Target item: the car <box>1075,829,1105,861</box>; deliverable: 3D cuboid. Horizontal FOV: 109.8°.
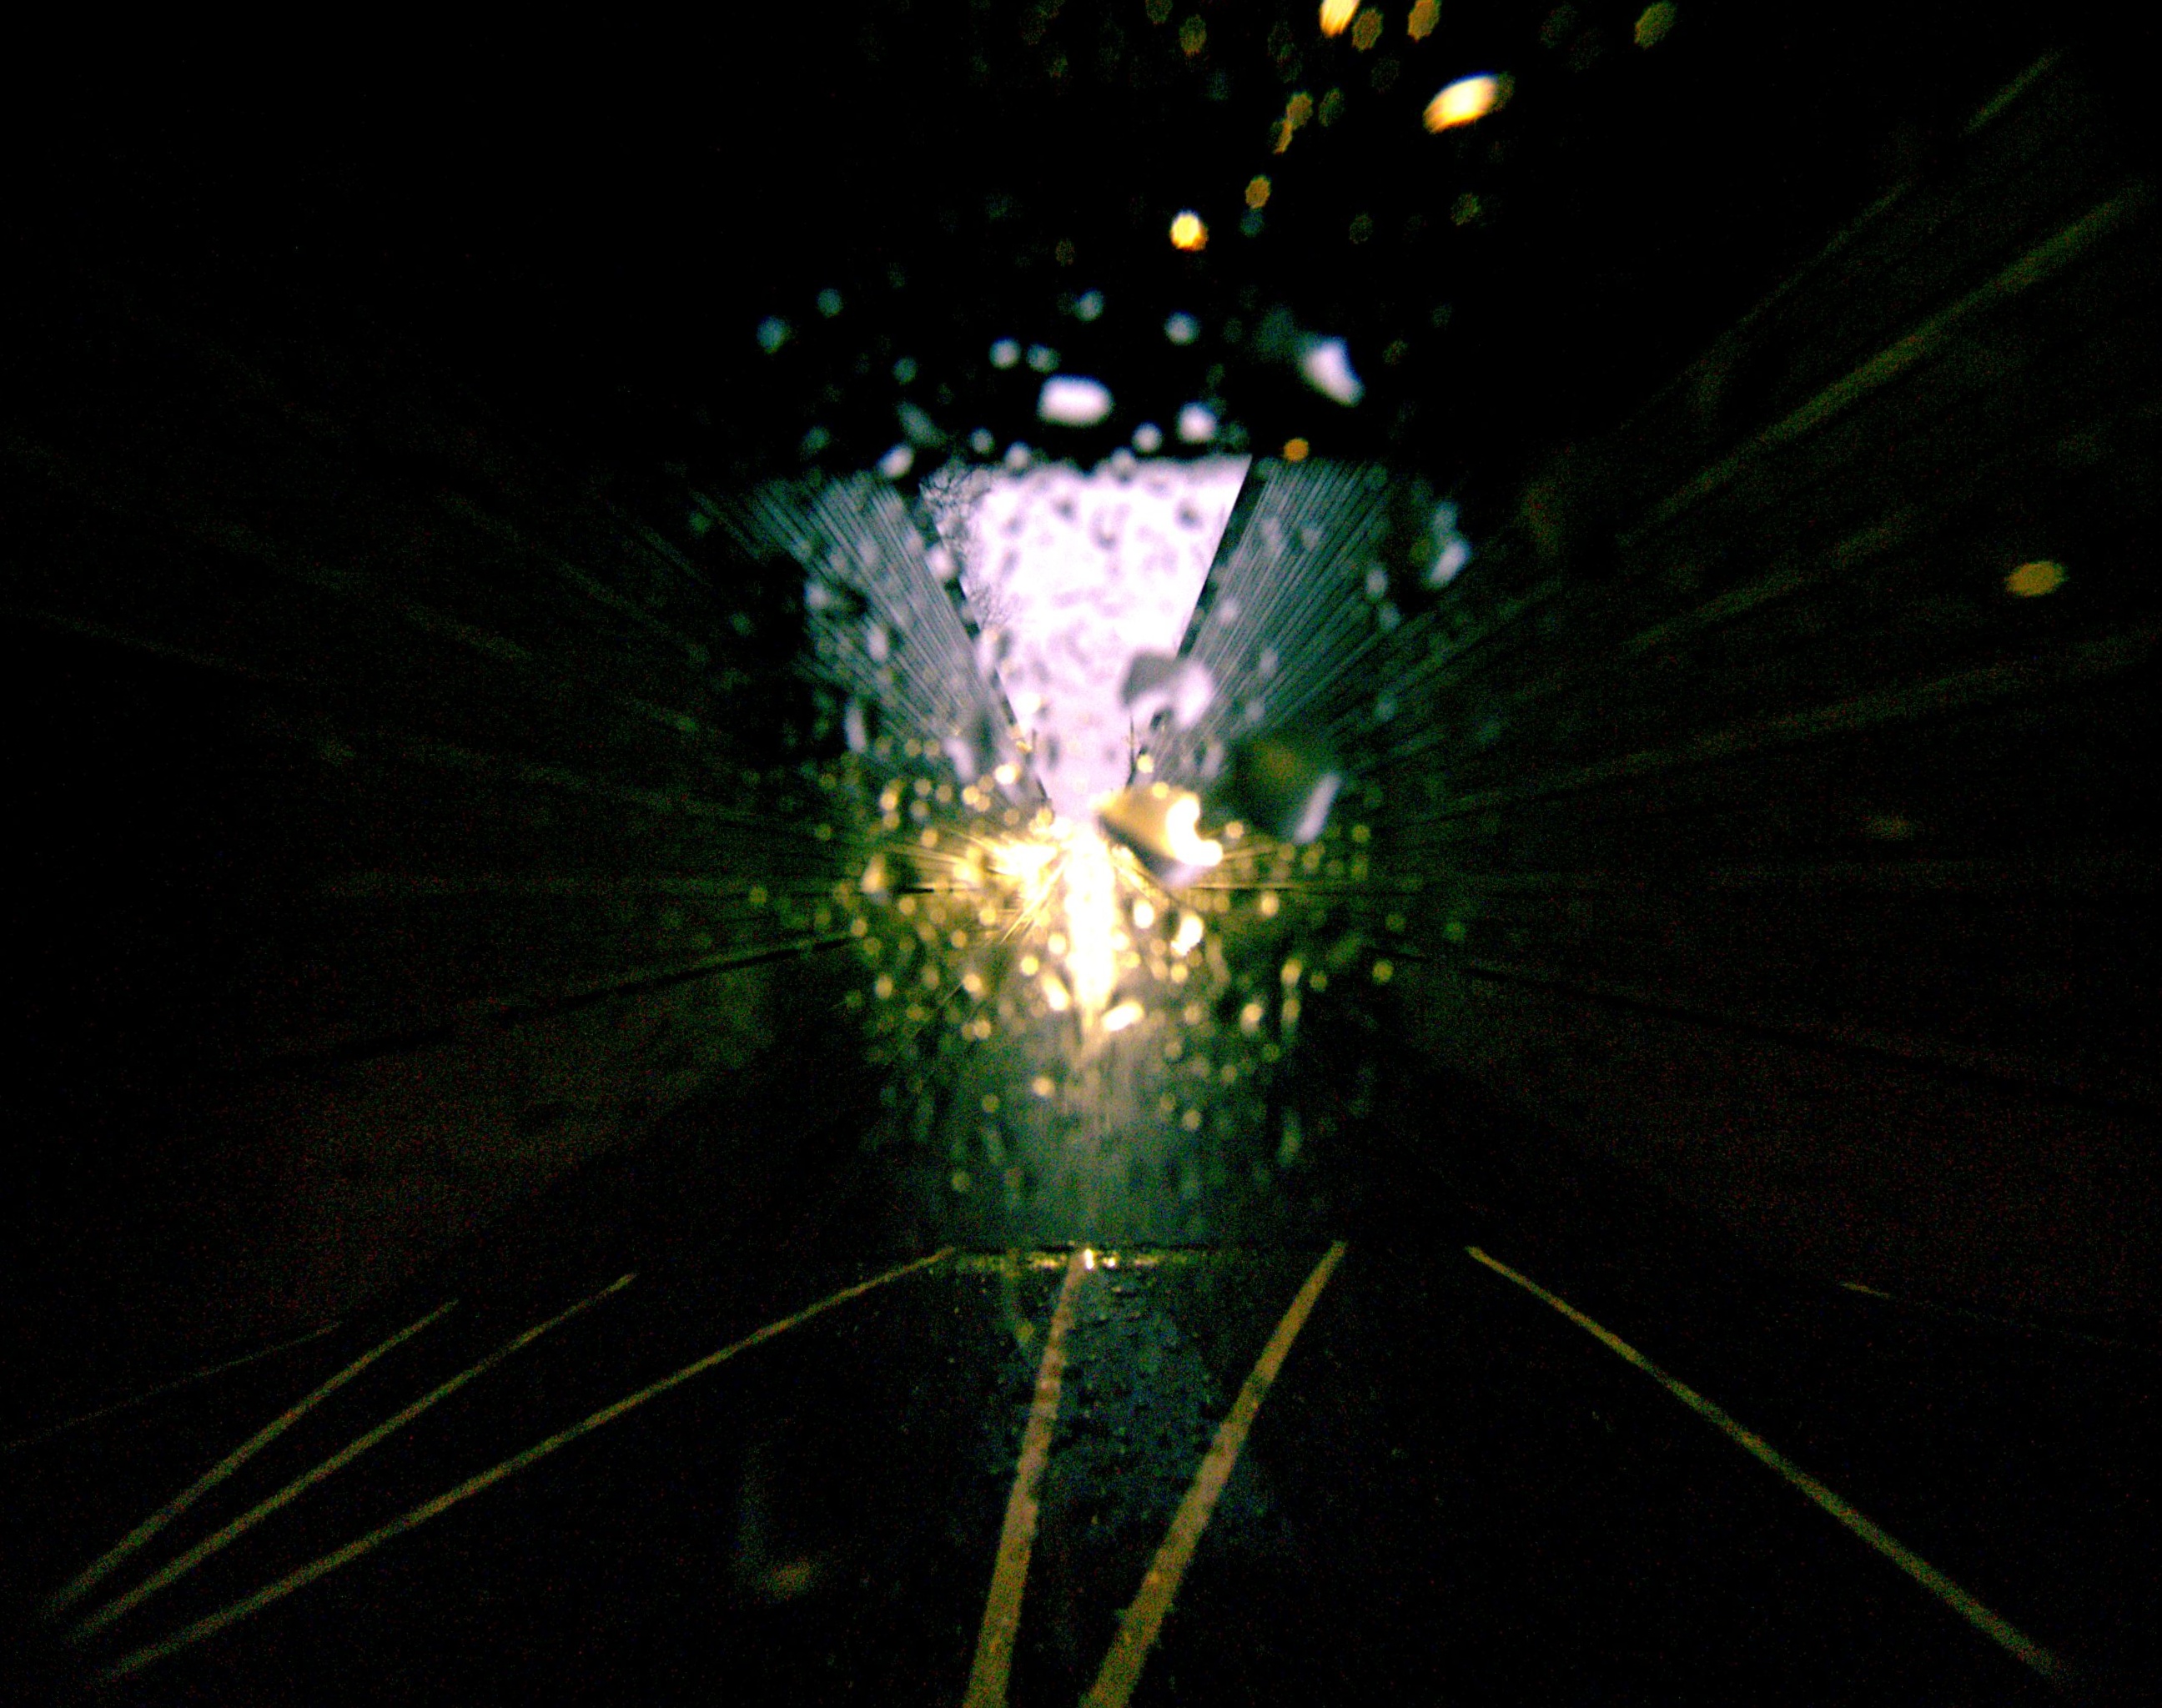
[{"bbox_3d":[0.694,-0.606,55.701,2.030,2.016,4.427,-3,-2,1],"label":"car"}]
